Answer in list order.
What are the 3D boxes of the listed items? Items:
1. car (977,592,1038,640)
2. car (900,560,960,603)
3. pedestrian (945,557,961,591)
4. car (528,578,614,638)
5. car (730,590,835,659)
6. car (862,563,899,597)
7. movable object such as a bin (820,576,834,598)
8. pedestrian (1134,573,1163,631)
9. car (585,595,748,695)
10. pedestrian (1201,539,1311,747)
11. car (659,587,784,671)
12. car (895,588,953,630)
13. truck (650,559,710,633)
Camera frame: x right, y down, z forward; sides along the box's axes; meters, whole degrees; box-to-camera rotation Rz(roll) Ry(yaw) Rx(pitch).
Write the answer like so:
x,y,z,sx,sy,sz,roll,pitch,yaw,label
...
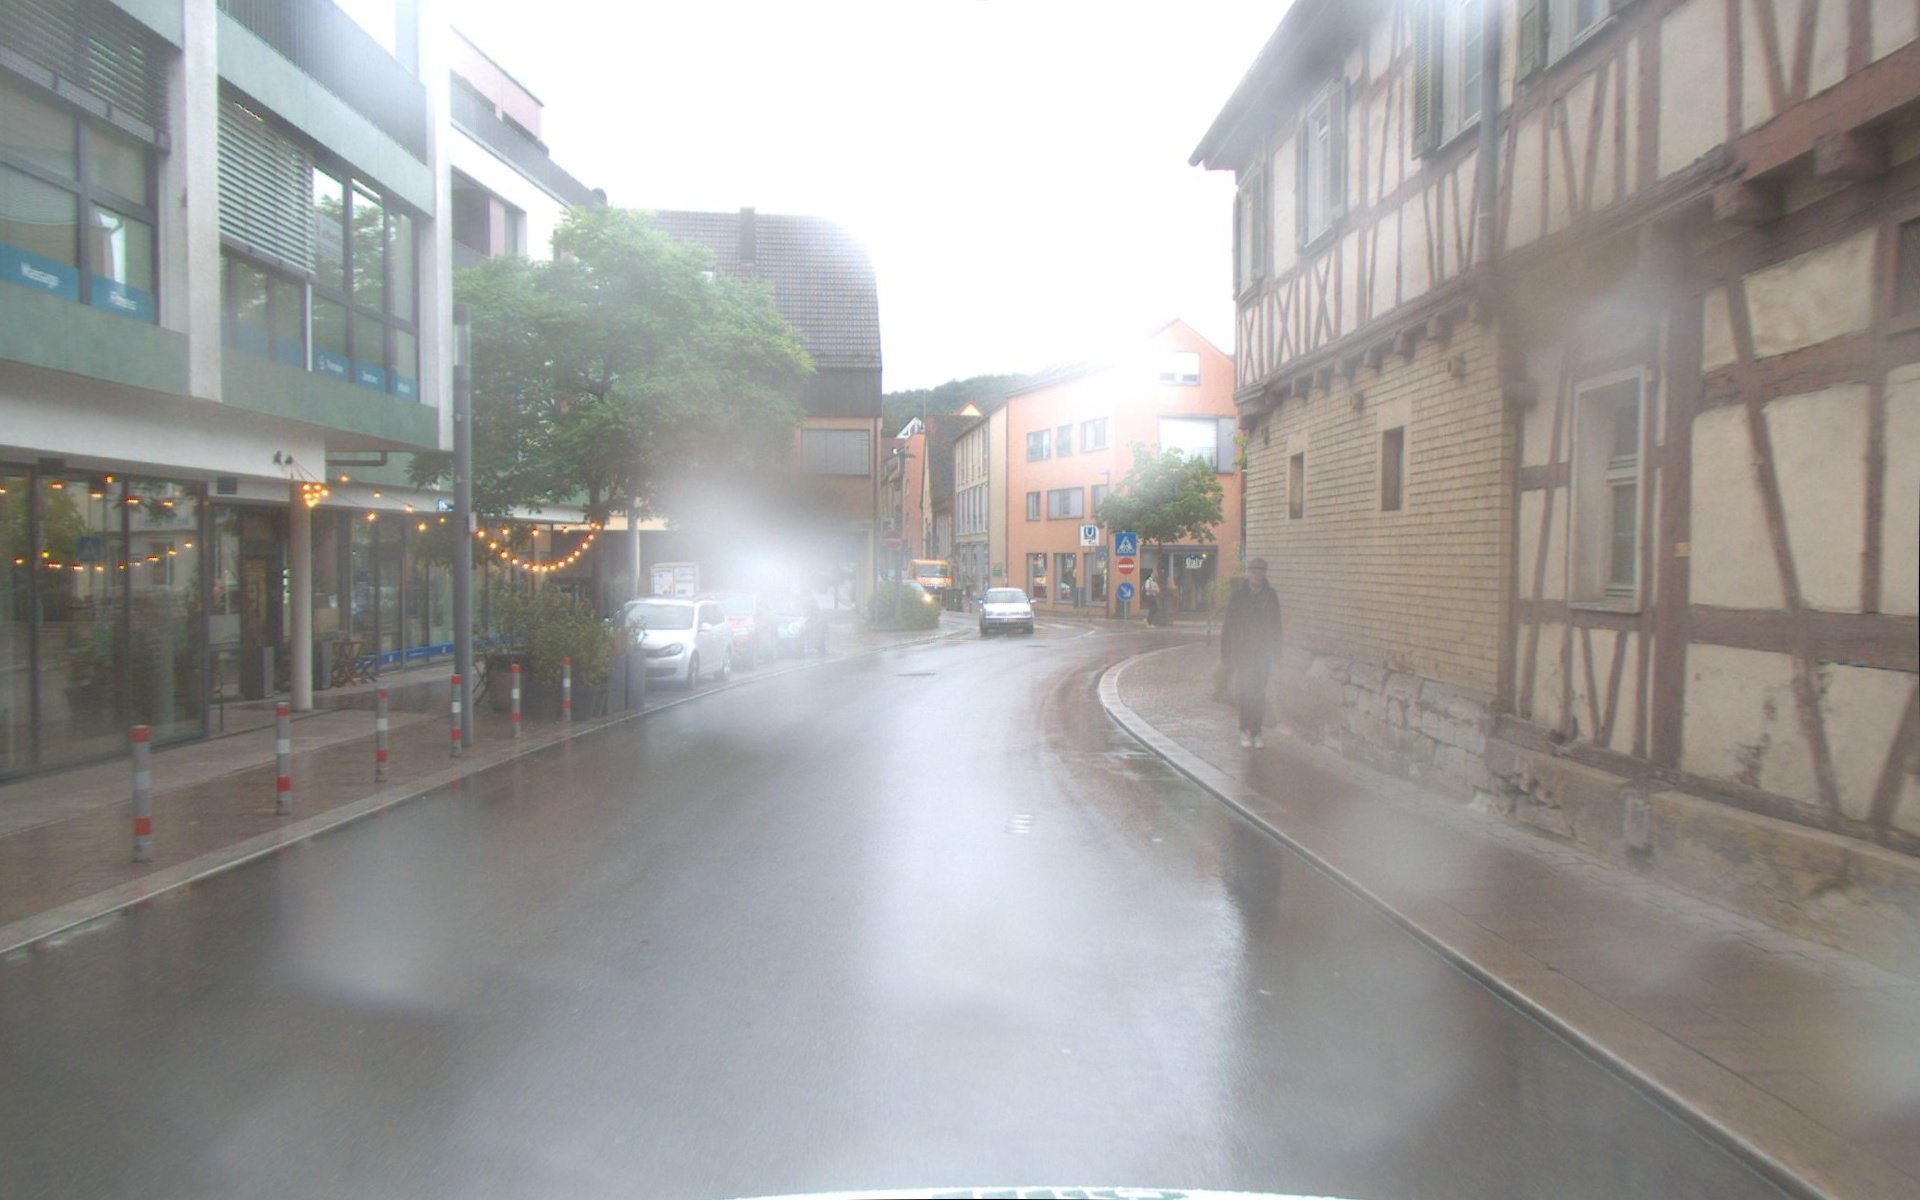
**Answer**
x,y,z,sx,sy,sz,roll,pitch,yaw,label
1.529,0.496,54.393,1.754,1.442,4.028,-3,1,-1,car
-1.618,-0.975,88.062,2.069,2.183,4.848,-2,1,-14,car
-0.405,-1.591,100.122,0.850,2.049,0.706,0,1,-10,pedestrian
-12.445,0.233,53.123,1.775,1.645,4.002,0,4,0,car
-4.139,0.540,39.067,1.678,1.483,3.913,1,1,6,car
-5.369,-1.345,111.667,2.064,2.183,4.859,-2,1,-7,car
-8.473,-0.853,105.541,0.819,1.406,0.852,-1,1,-11,movable object such as a bin
6.422,0.055,56.453,0.843,1.948,0.758,0,1,19,pedestrian
-4.900,0.709,28.235,1.749,1.525,4.456,-1,0,3,car
2.840,0.398,15.947,0.794,1.918,0.907,-2,1,-3,pedestrian
-4.836,0.545,34.074,1.749,1.604,4.109,-1,0,3,car
-1.386,0.323,62.231,1.683,1.483,3.903,1,1,-9,car
-9.176,-0.178,54.405,1.565,2.097,3.192,-2,5,-4,truck
